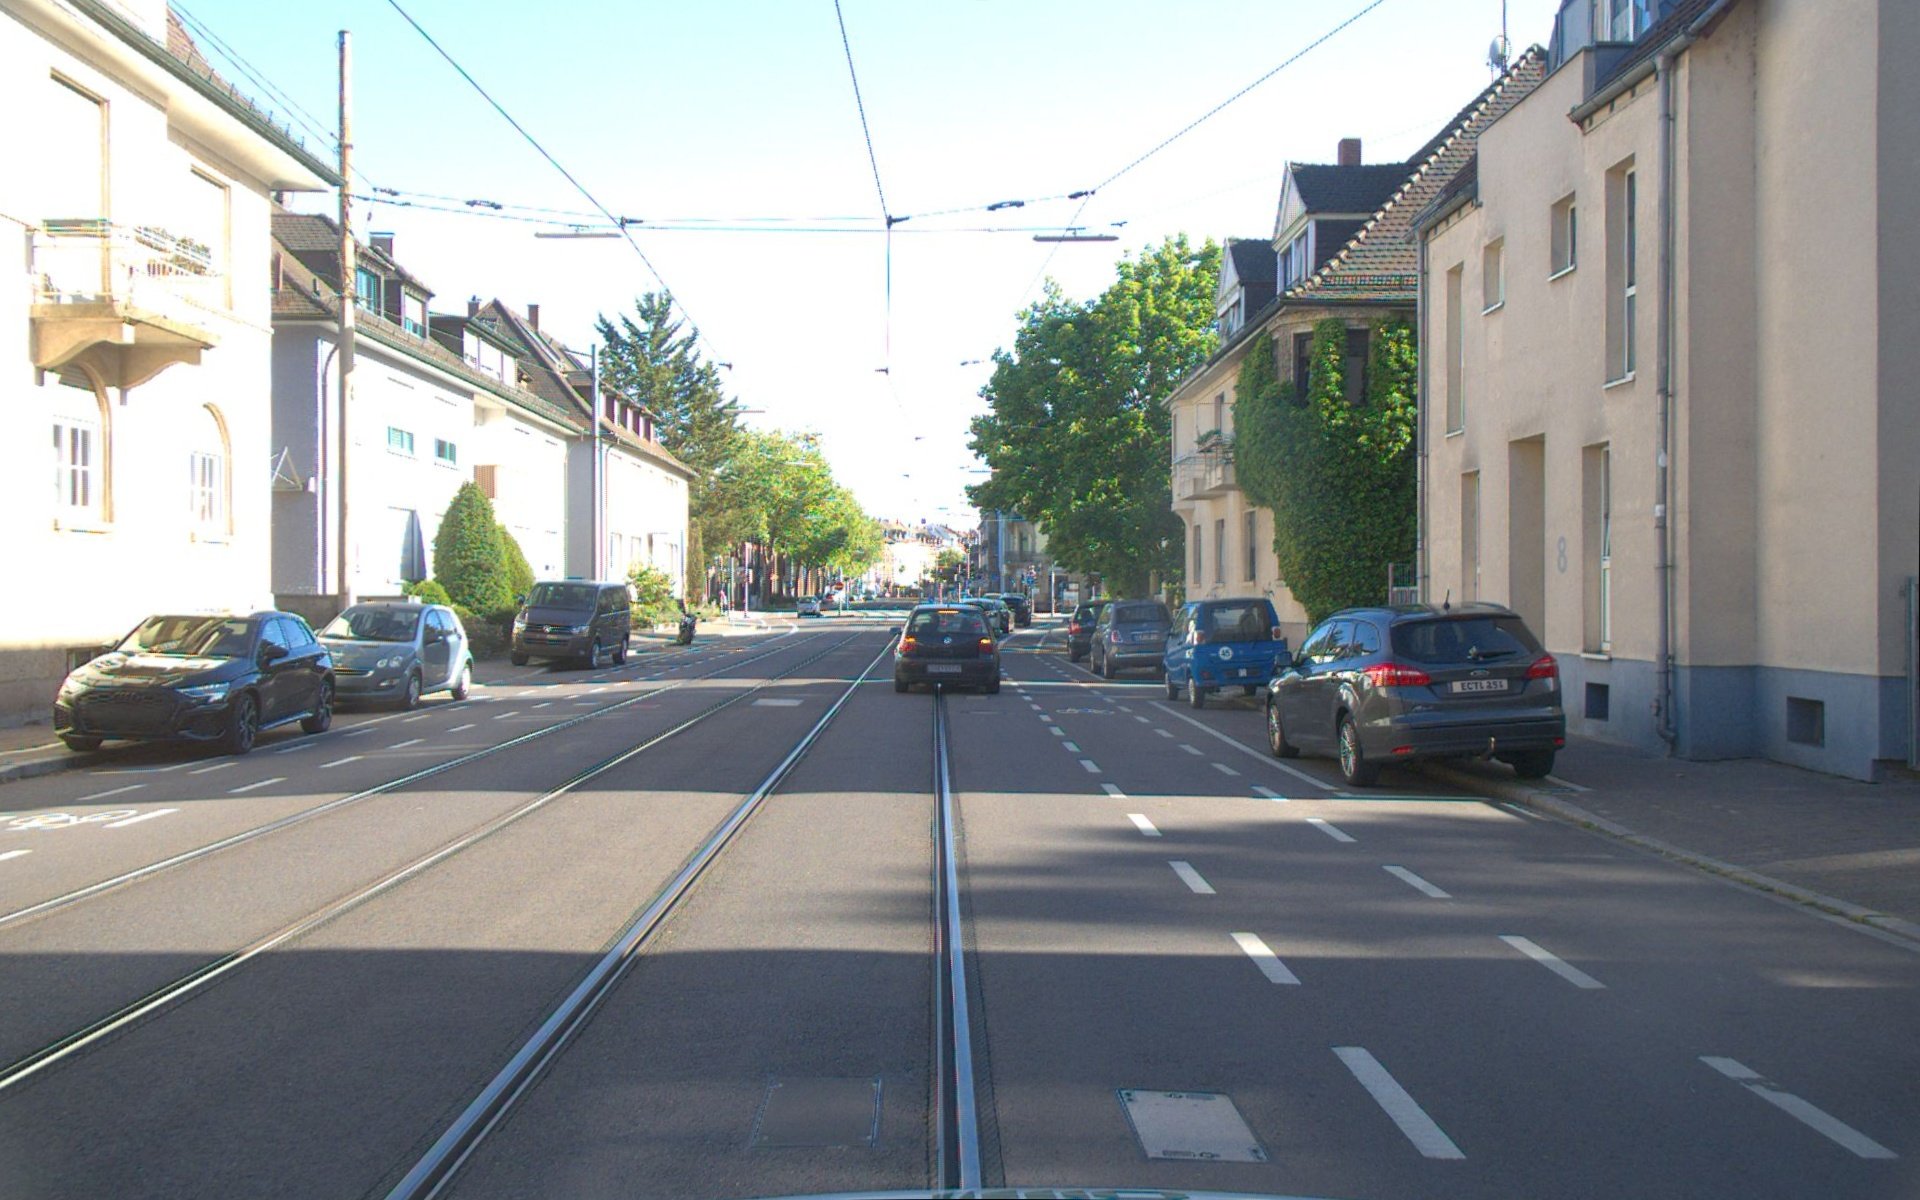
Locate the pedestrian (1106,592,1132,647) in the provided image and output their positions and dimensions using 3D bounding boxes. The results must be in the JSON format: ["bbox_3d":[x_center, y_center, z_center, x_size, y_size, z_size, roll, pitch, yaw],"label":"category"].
[{"bbox_3d":[5.056,0.603,52.618,0.703,1.717,0.870,-1,0,-2],"label":"pedestrian"}]

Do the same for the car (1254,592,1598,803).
[{"bbox_3d":[4.066,0.759,15.241,1.709,1.627,4.431,1,0,-3],"label":"car"}]

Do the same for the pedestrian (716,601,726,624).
[{"bbox_3d":[-17.843,0.932,123.424,0.600,1.719,0.729,2,0,-19],"label":"pedestrian"}]

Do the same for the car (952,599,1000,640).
[{"bbox_3d":[0.568,0.705,62.497,1.704,1.466,3.809,0,0,-1],"label":"car"}]

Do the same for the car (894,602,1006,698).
[{"bbox_3d":[-0.177,0.766,27.310,1.681,1.427,4.005,1,0,-1],"label":"car"}]

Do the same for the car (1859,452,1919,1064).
[{"bbox_3d":[4.177,0.549,3.559,1.867,2.022,4.561,1,0,-2],"label":"car"}]

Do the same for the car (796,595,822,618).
[{"bbox_3d":[-10.043,0.424,109.945,1.543,1.503,3.439,-1,0,-3],"label":"car"}]

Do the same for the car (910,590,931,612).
[{"bbox_3d":[-3.552,0.057,147.520,1.751,1.892,3.998,2,0,-3],"label":"car"}]

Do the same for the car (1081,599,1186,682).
[{"bbox_3d":[3.479,0.772,33.695,1.569,1.552,3.547,1,0,-3],"label":"car"}]

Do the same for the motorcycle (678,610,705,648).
[{"bbox_3d":[-8.821,0.937,54.367,0.525,1.183,2.171,-2,0,-1],"label":"motorcycle"}]

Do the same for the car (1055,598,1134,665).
[{"bbox_3d":[3.398,0.772,42.182,1.632,1.591,3.770,1,0,-1],"label":"car"}]

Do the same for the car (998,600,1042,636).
[{"bbox_3d":[2.522,0.749,70.529,1.538,1.334,3.645,-1,3,-3],"label":"car"}]

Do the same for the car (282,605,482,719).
[{"bbox_3d":[-8.508,0.858,24.684,1.642,1.503,3.834,1,0,-1],"label":"car"}]

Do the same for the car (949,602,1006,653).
[{"bbox_3d":[0.485,0.759,48.250,1.601,1.396,3.757,-1,0,0],"label":"car"}]

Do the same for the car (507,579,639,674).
[{"bbox_3d":[-8.968,0.568,38.778,1.867,2.049,4.949,1,0,0],"label":"car"}]

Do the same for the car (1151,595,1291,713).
[{"bbox_3d":[3.882,0.764,25.006,1.428,1.627,3.292,1,0,-3],"label":"car"}]

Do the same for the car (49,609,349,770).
[{"bbox_3d":[-8.156,0.877,18.159,1.630,1.503,4.246,0,0,-5],"label":"car"}]
